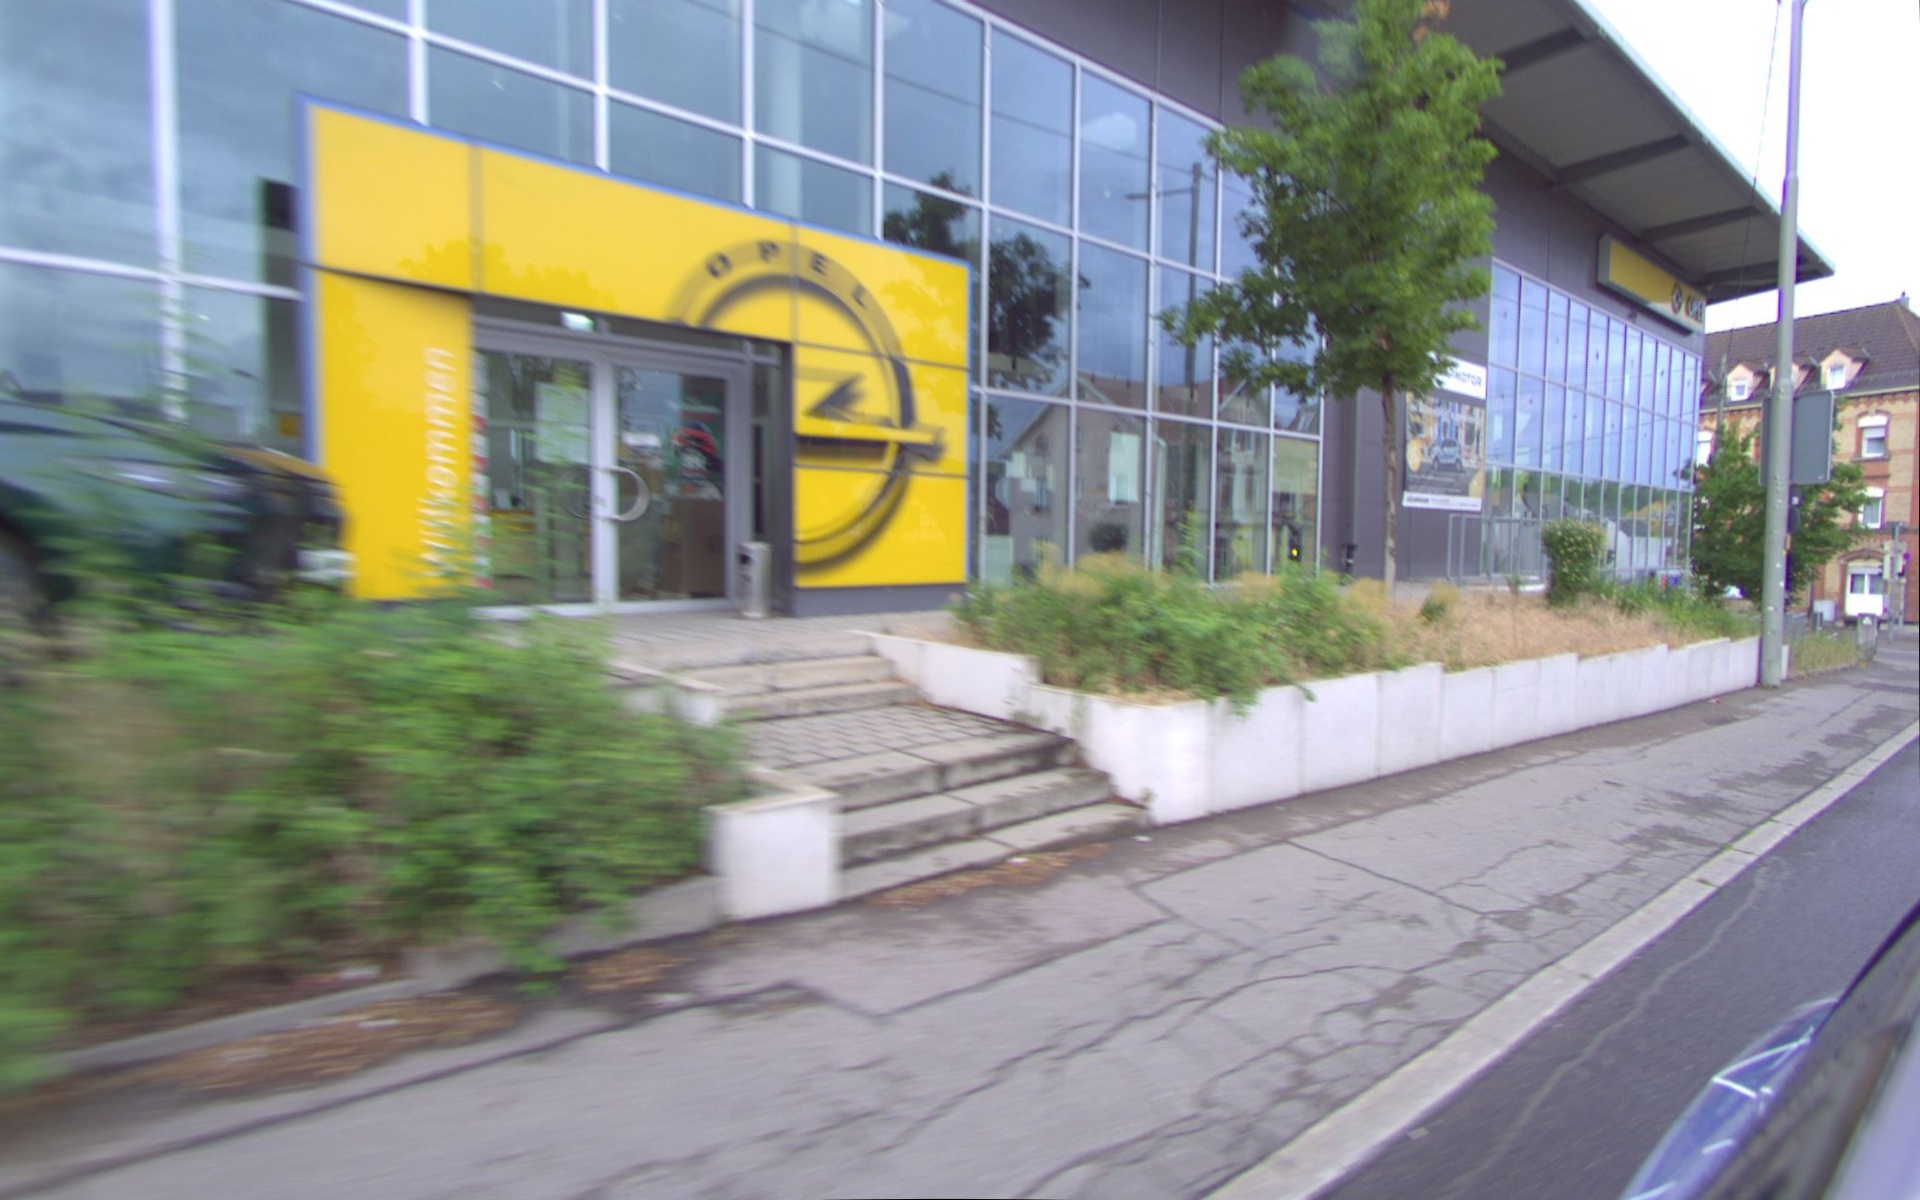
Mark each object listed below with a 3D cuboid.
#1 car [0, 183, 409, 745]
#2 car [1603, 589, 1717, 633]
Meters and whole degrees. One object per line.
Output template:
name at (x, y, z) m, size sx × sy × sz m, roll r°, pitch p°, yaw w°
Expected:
car at (-4.702, -0.493, 3.726) m, size 4.335 × 1.731 × 2.005 m, roll 1°, pitch 3°, yaw -14°
car at (31.342, 0.457, 45.472) m, size 1.768 × 1.683 × 4.262 m, roll 1°, pitch 2°, yaw -6°
